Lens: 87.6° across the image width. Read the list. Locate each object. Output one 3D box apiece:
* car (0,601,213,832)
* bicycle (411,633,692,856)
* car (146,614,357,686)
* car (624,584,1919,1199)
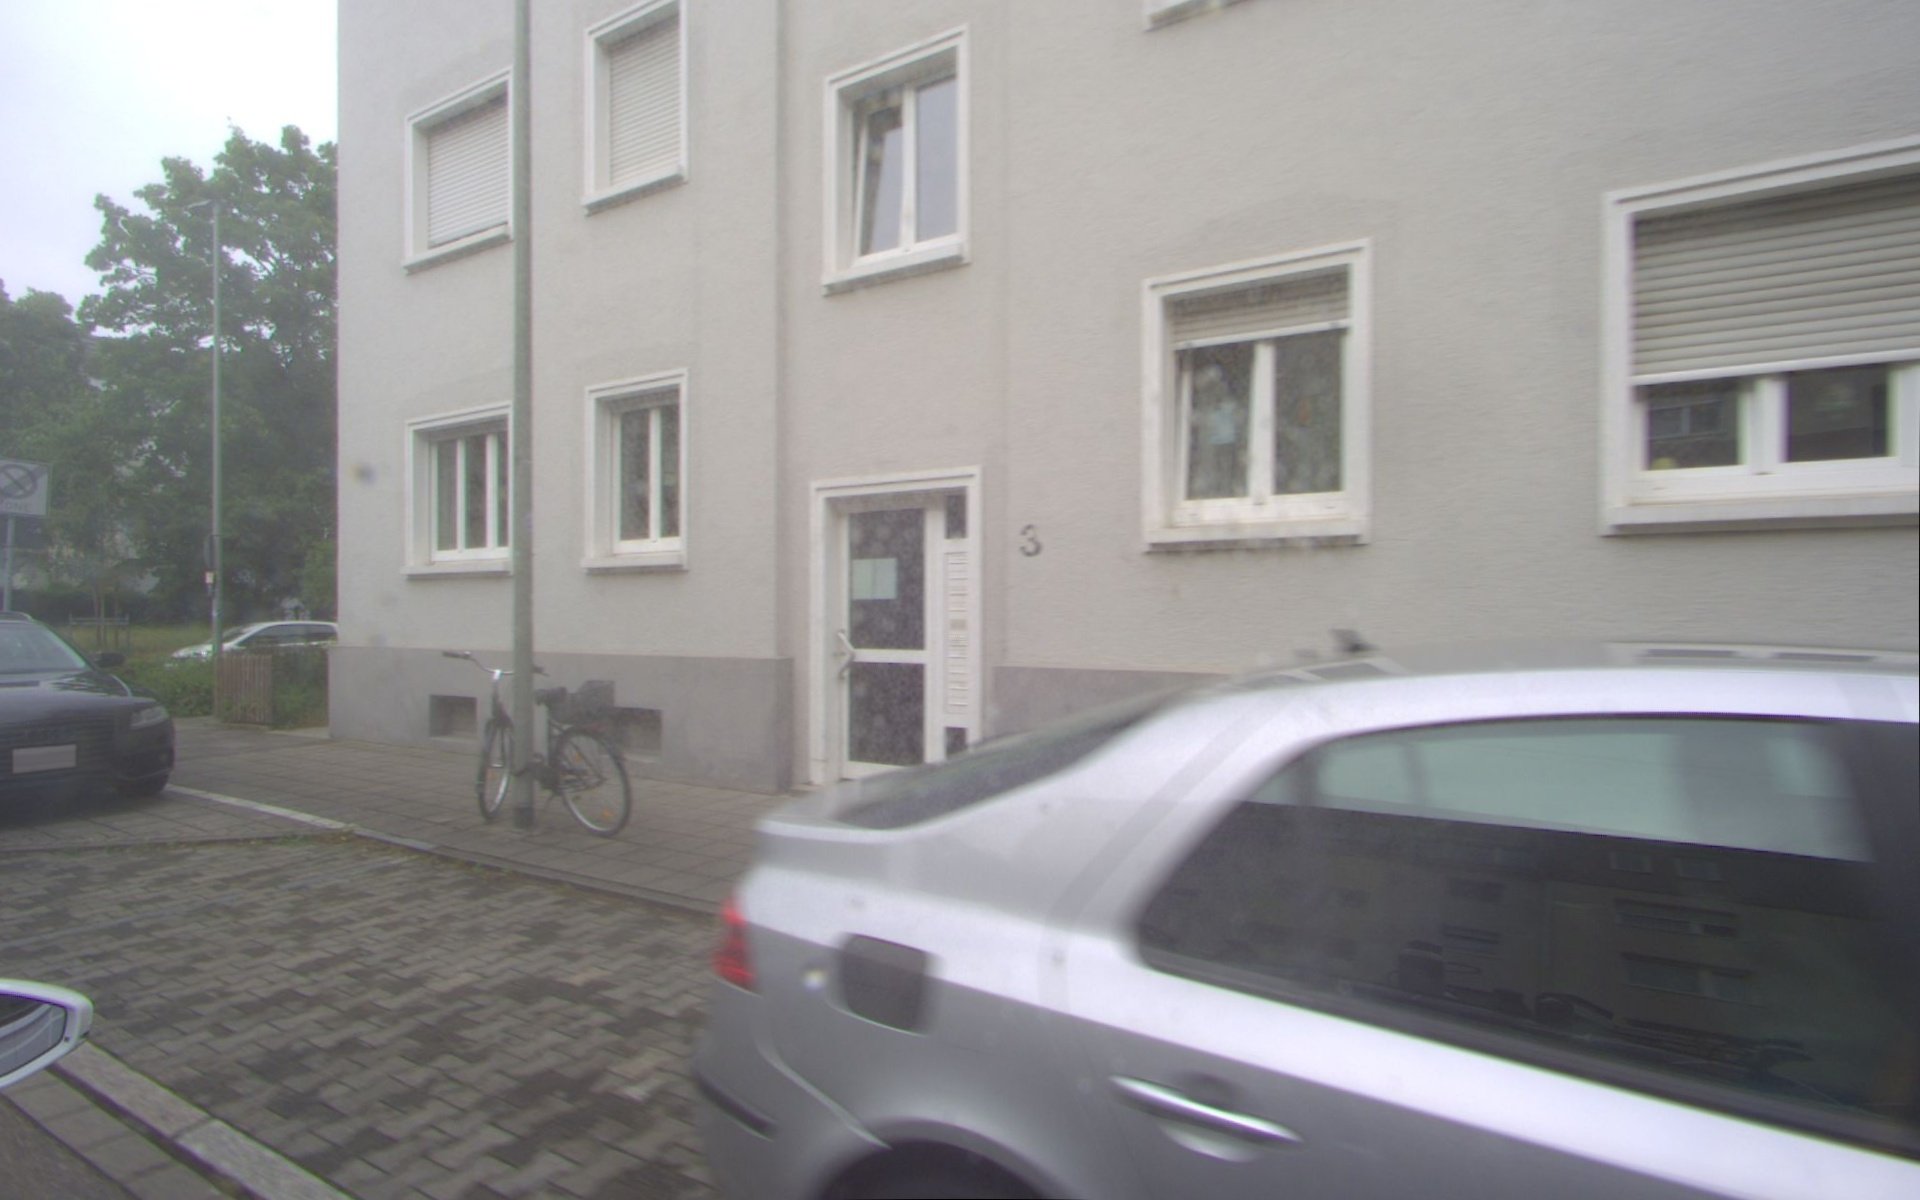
[{"bbox_3d":[-8.031,0.753,7.852,4.655,1.482,1.857,0,0,31],"label":"car"},{"bbox_3d":[-2.697,0.856,6.549,1.868,1.217,0.747,0,2,32],"label":"bicycle"},{"bbox_3d":[-15.684,1.067,22.320,1.544,1.455,3.528,0,-1,30],"label":"car"},{"bbox_3d":[1.711,0.737,1.396,4.365,1.482,1.730,0,0,31],"label":"car"}]
